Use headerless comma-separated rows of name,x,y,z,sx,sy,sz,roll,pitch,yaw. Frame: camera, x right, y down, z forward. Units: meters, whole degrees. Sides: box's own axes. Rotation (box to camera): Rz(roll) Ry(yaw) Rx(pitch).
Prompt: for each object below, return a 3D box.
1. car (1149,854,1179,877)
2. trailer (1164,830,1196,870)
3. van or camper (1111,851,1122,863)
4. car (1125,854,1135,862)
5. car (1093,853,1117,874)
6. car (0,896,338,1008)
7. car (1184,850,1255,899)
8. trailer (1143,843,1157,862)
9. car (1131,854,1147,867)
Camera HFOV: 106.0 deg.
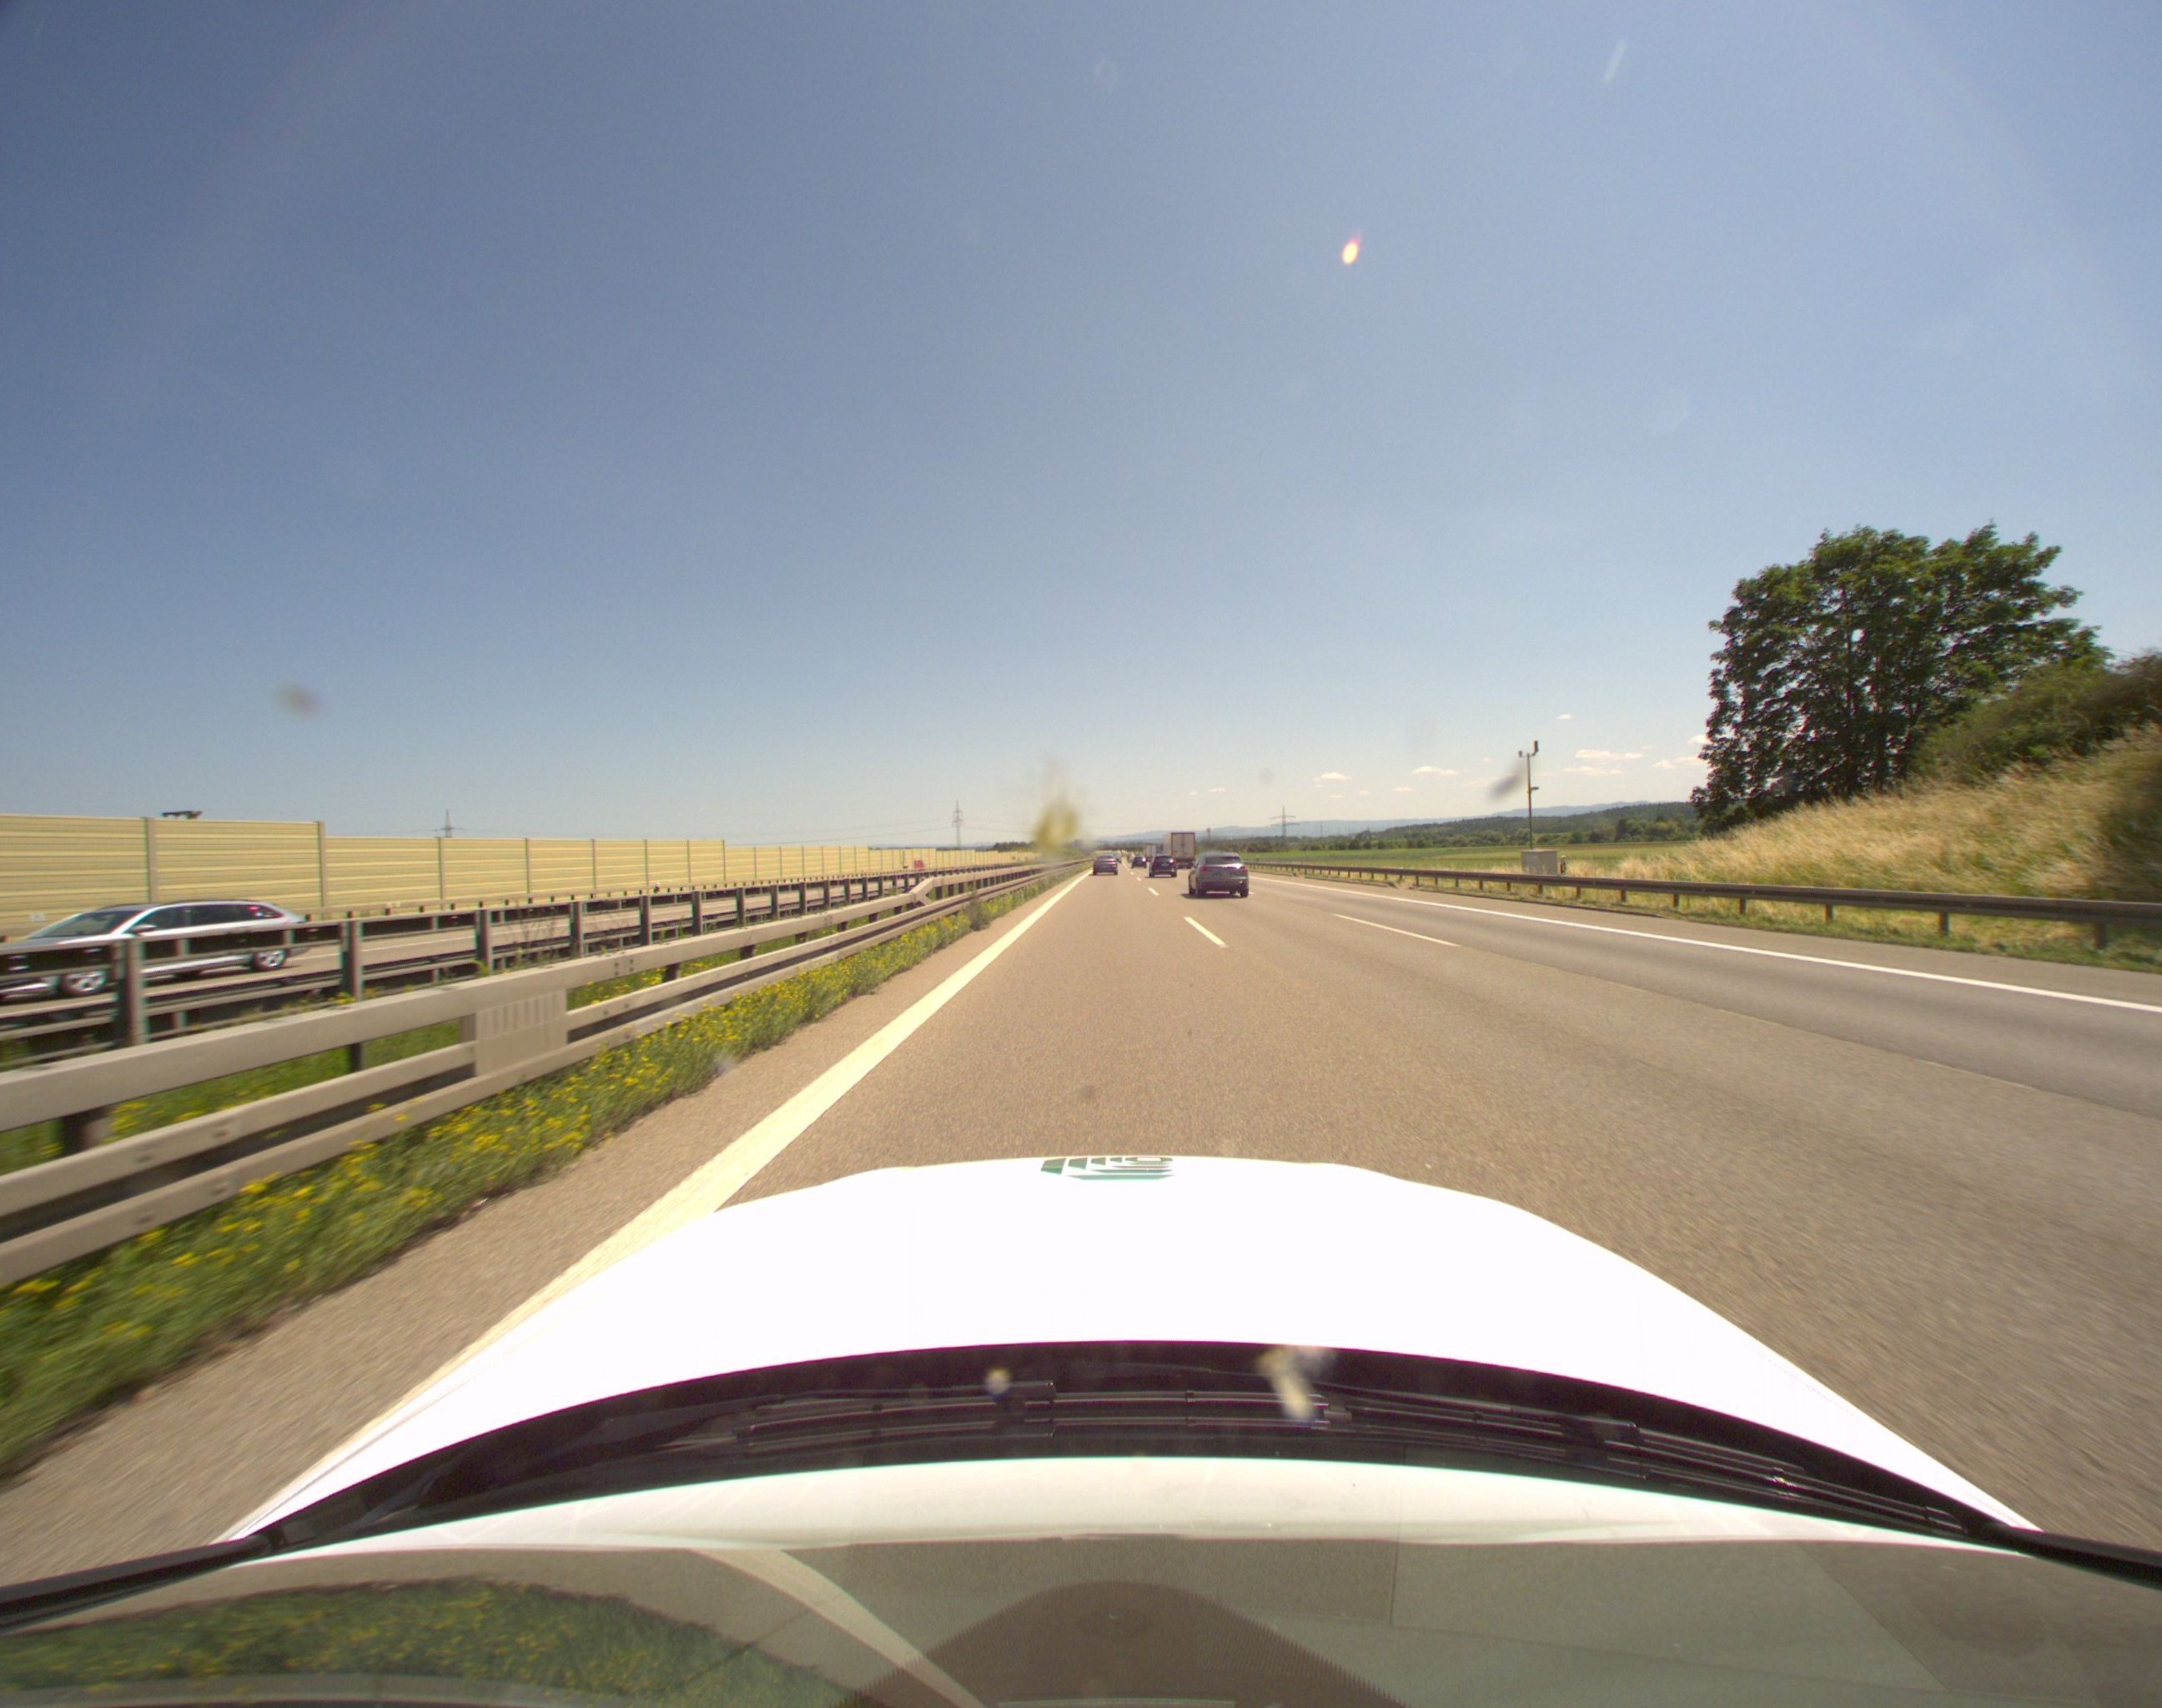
car,5.781,0.786,57.220,1.790,1.562,3.824,0,0,1
trailer,11.317,-0.377,94.196,2.856,4.220,13.305,0,0,3
van or camper,6.973,0.589,159.212,2.101,2.211,5.270,0,0,4
car,10.103,0.827,167.354,1.985,1.683,4.004,0,0,4
car,1.906,0.760,65.420,1.845,1.664,3.735,0,0,1
car,-16.795,1.642,14.819,1.986,1.464,4.815,-2,0,2
car,5.018,0.726,30.089,1.845,1.648,4.645,0,-1,1
trailer,15.868,-0.307,186.965,2.930,4.198,13.610,0,0,4
car,7.056,0.759,99.754,1.925,1.574,4.938,0,0,3
